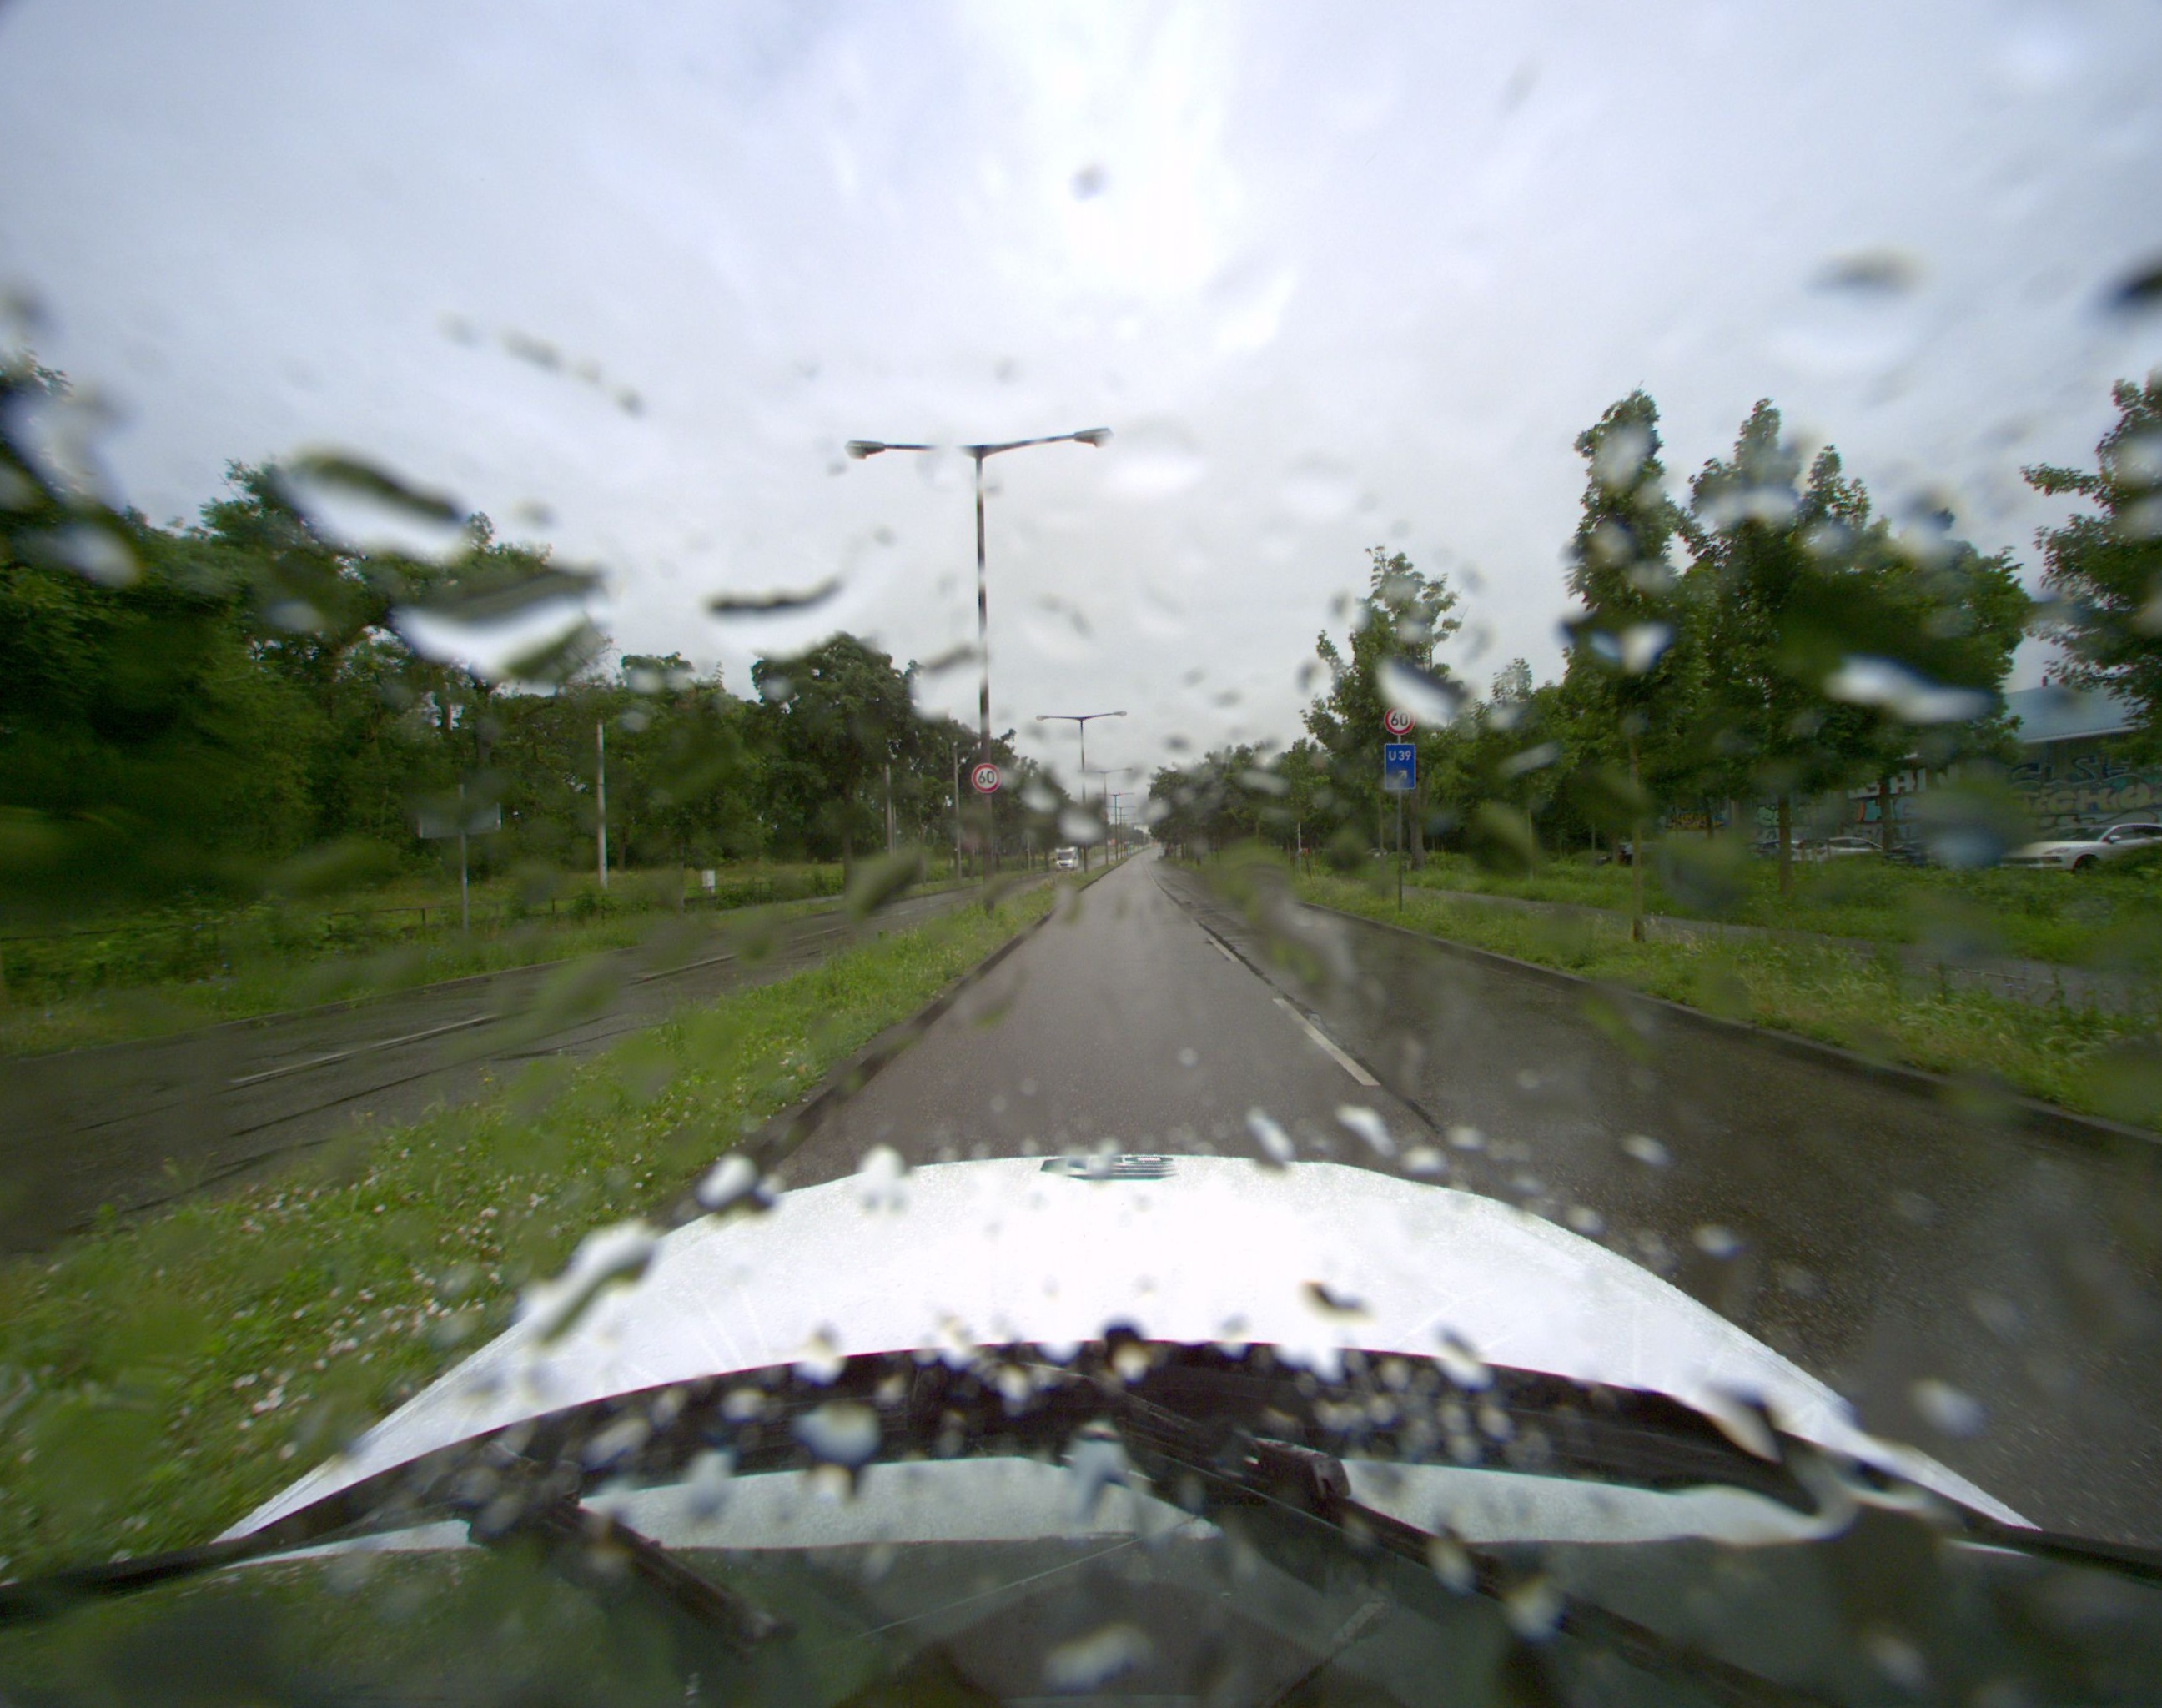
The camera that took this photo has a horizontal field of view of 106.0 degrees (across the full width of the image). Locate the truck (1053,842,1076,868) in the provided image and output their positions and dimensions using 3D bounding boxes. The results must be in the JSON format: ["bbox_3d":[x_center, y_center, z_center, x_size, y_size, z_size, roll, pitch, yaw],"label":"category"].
[{"bbox_3d":[-1.902,0.113,95.412,2.129,2.843,5.076,-3,-1,2],"label":"truck"}]

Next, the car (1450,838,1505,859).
[{"bbox_3d":[35.135,-0.466,72.216,3.937,1.820,1.898,0,-1,4],"label":"car"}]

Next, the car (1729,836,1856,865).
[{"bbox_3d":[32.985,-0.152,37.825,4.386,1.334,1.836,0,0,-2],"label":"car"}]

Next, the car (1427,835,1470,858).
[{"bbox_3d":[37.196,-0.770,82.446,3.705,2.324,1.590,0,-1,4],"label":"car"}]

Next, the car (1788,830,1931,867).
[{"bbox_3d":[33.678,-0.234,35.316,4.558,1.547,1.862,0,-1,-2],"label":"car"}]

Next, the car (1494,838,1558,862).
[{"bbox_3d":[34.309,-0.309,62.865,3.937,1.820,1.898,0,-1,4],"label":"car"}]

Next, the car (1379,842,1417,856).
[{"bbox_3d":[37.591,-0.551,96.669,3.963,1.640,1.811,0,-1,9],"label":"car"}]

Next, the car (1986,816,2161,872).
[{"bbox_3d":[32.045,-0.300,25.822,4.555,1.705,2.000,0,-1,0],"label":"car"}]

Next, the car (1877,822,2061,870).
[{"bbox_3d":[31.823,-0.278,29.283,4.557,1.645,1.998,0,-1,-2],"label":"car"}]

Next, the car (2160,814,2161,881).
[{"bbox_3d":[23.966,-0.105,15.473,1.736,1.445,4.129,-2,1,6],"label":"car"}]
